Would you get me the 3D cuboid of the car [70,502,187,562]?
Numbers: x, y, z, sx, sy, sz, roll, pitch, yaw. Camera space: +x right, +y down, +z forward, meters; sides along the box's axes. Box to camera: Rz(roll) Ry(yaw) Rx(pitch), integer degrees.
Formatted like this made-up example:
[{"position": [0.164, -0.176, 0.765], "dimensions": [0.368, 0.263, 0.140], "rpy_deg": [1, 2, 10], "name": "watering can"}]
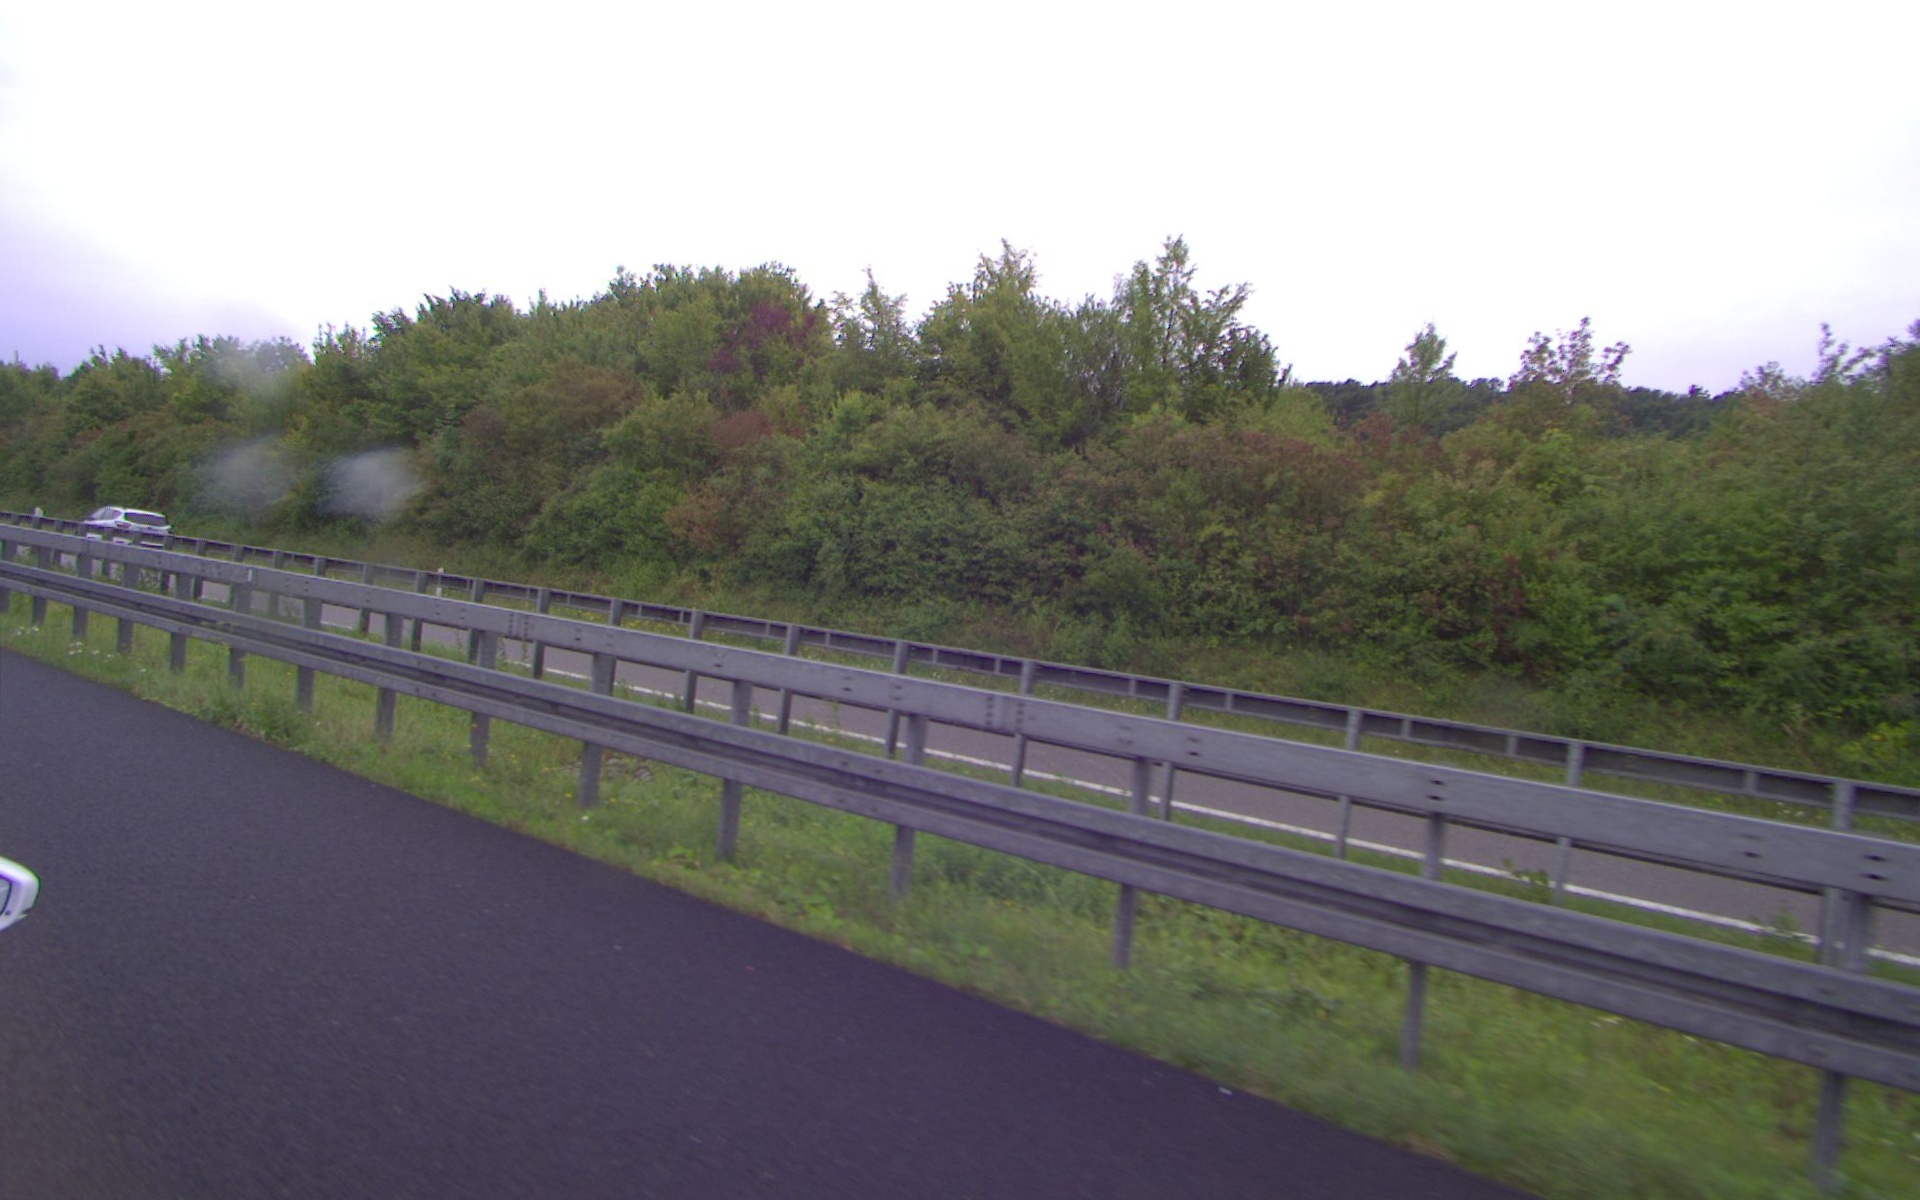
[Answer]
[{"position": [-29.473, -2.421, 35.639], "dimensions": [4.077, 1.632, 1.899], "rpy_deg": [7, -1, 32], "name": "car"}]
